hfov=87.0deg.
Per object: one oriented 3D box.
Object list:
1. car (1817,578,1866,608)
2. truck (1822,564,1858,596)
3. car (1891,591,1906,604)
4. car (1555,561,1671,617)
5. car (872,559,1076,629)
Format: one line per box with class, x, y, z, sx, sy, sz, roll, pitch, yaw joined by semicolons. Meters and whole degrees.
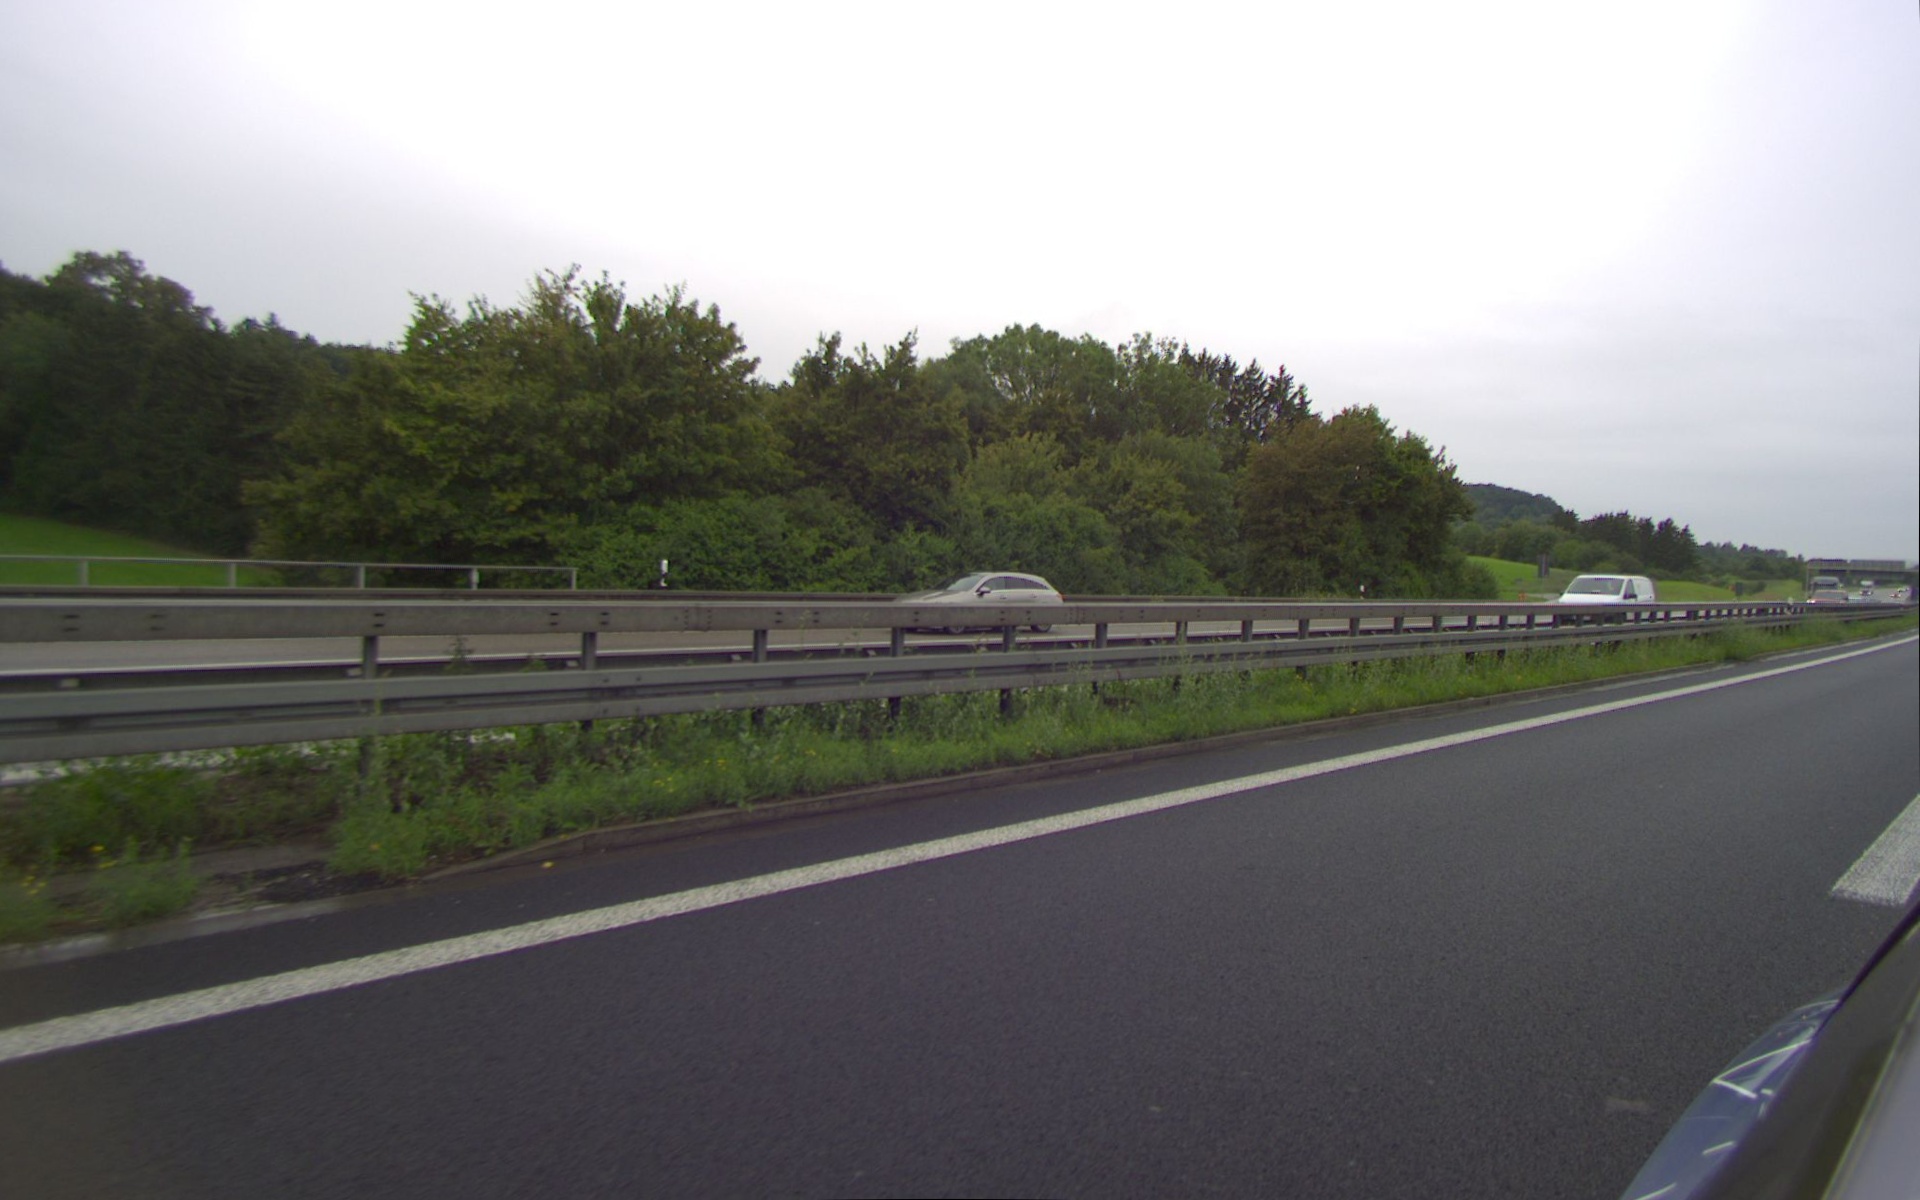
car;63.068;-0.544;72.404;4.992;2.039;2.127;-1;2;-43
truck;111.729;-2.487;128.457;2.793;3.949;9.867;2;2;44
car;154.082;-0.395;166.222;1.747;2.039;4.429;2;2;42
car;21.488;-0.366;33.225;4.635;1.714;1.913;0;2;-40
car;0.403;-0.161;23.518;4.627;1.473;1.903;0;2;-40
